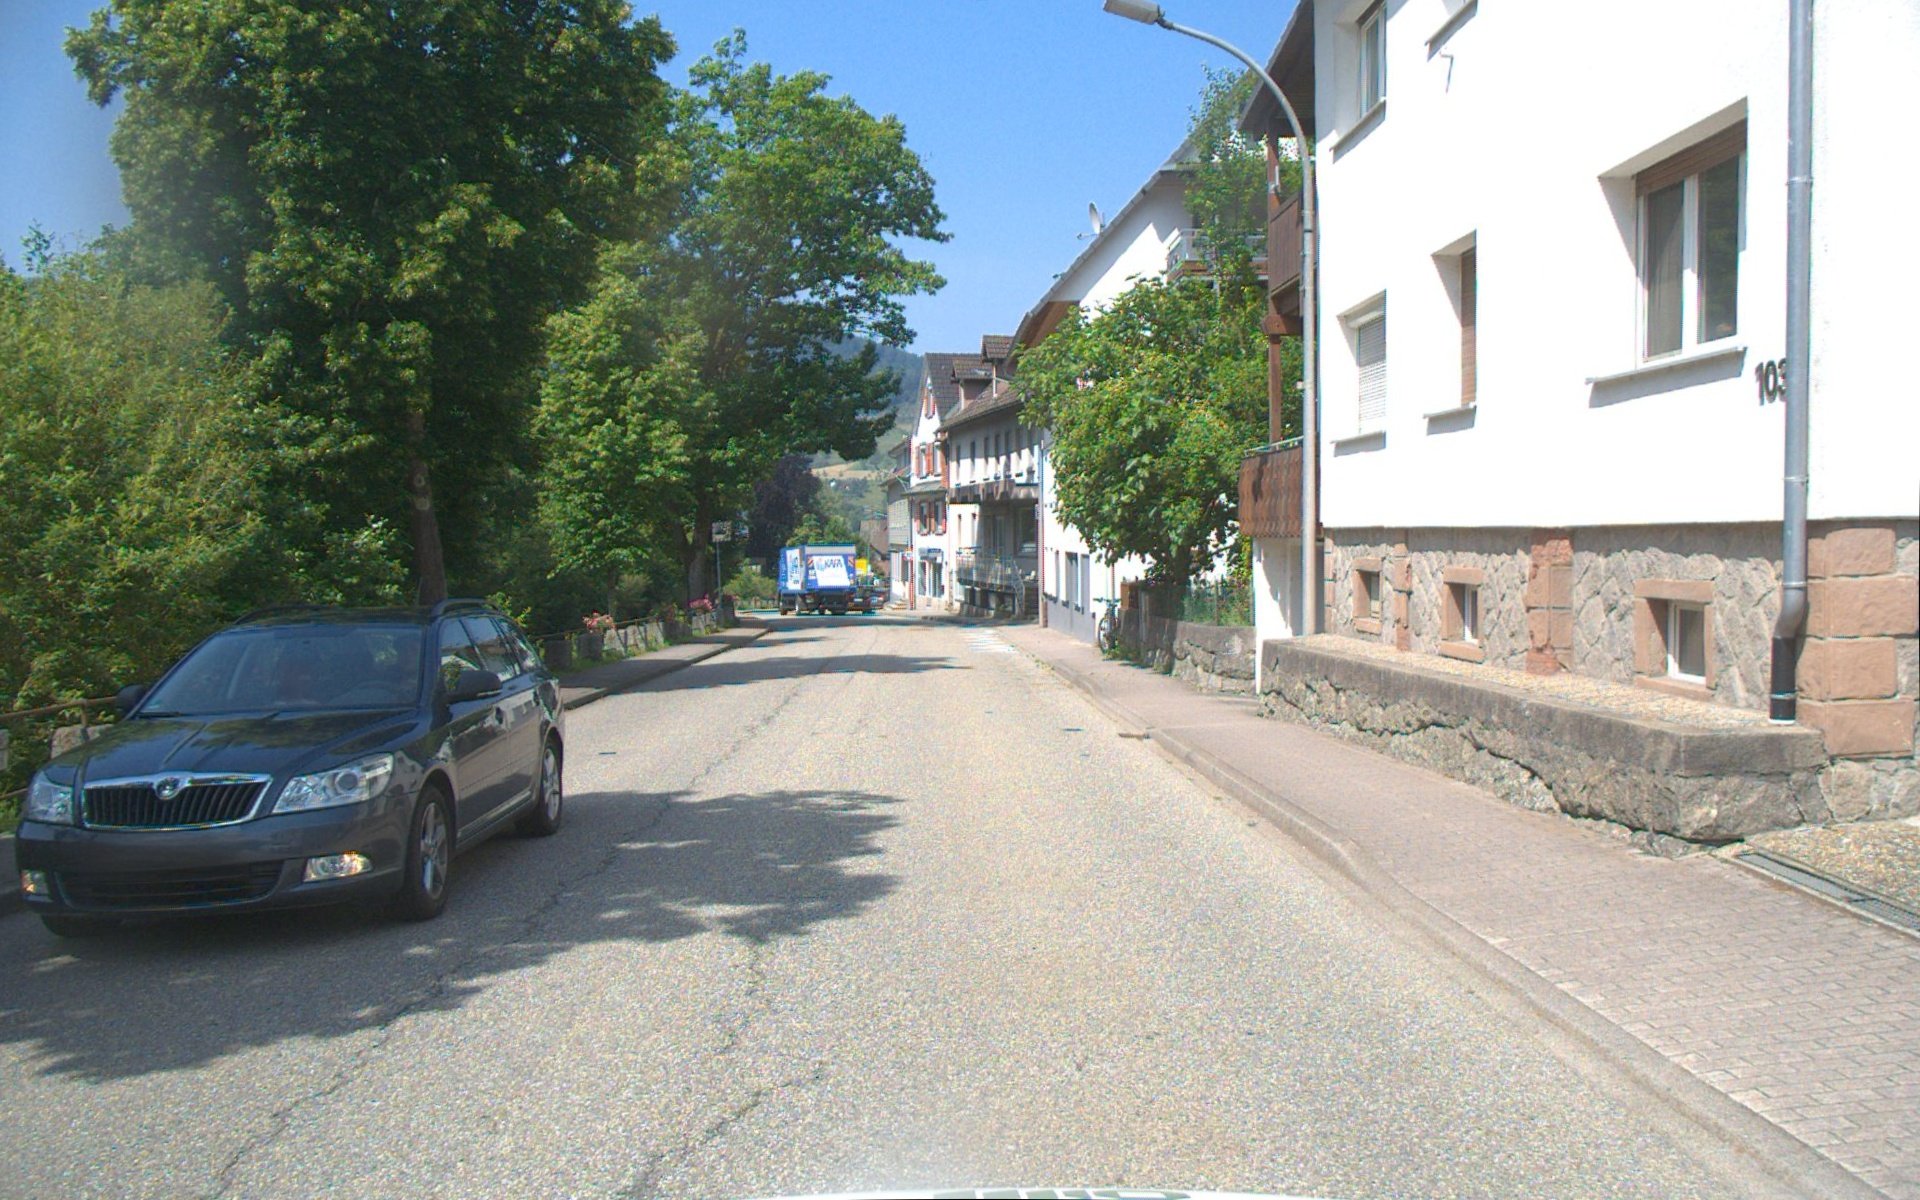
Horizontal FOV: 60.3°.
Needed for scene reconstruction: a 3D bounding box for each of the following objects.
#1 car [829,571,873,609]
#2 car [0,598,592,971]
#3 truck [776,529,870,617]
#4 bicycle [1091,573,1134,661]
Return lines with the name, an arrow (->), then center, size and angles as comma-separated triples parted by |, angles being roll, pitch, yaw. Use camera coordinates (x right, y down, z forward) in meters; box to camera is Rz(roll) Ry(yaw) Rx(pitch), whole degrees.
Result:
car -> -6.032, -0.533, 91.222 | 1.743, 1.869, 3.988 | -4, -1, -12
car -> -3.216, 0.744, 8.740 | 1.632, 1.442, 4.086 | -2, 0, -1
truck -> -7.032, -1.266, 83.671 | 3.307, 3.847, 8.409 | -4, -1, -14
bicycle -> 2.618, 0.267, 28.530 | 0.417, 1.420, 2.276 | -4, 1, -1
